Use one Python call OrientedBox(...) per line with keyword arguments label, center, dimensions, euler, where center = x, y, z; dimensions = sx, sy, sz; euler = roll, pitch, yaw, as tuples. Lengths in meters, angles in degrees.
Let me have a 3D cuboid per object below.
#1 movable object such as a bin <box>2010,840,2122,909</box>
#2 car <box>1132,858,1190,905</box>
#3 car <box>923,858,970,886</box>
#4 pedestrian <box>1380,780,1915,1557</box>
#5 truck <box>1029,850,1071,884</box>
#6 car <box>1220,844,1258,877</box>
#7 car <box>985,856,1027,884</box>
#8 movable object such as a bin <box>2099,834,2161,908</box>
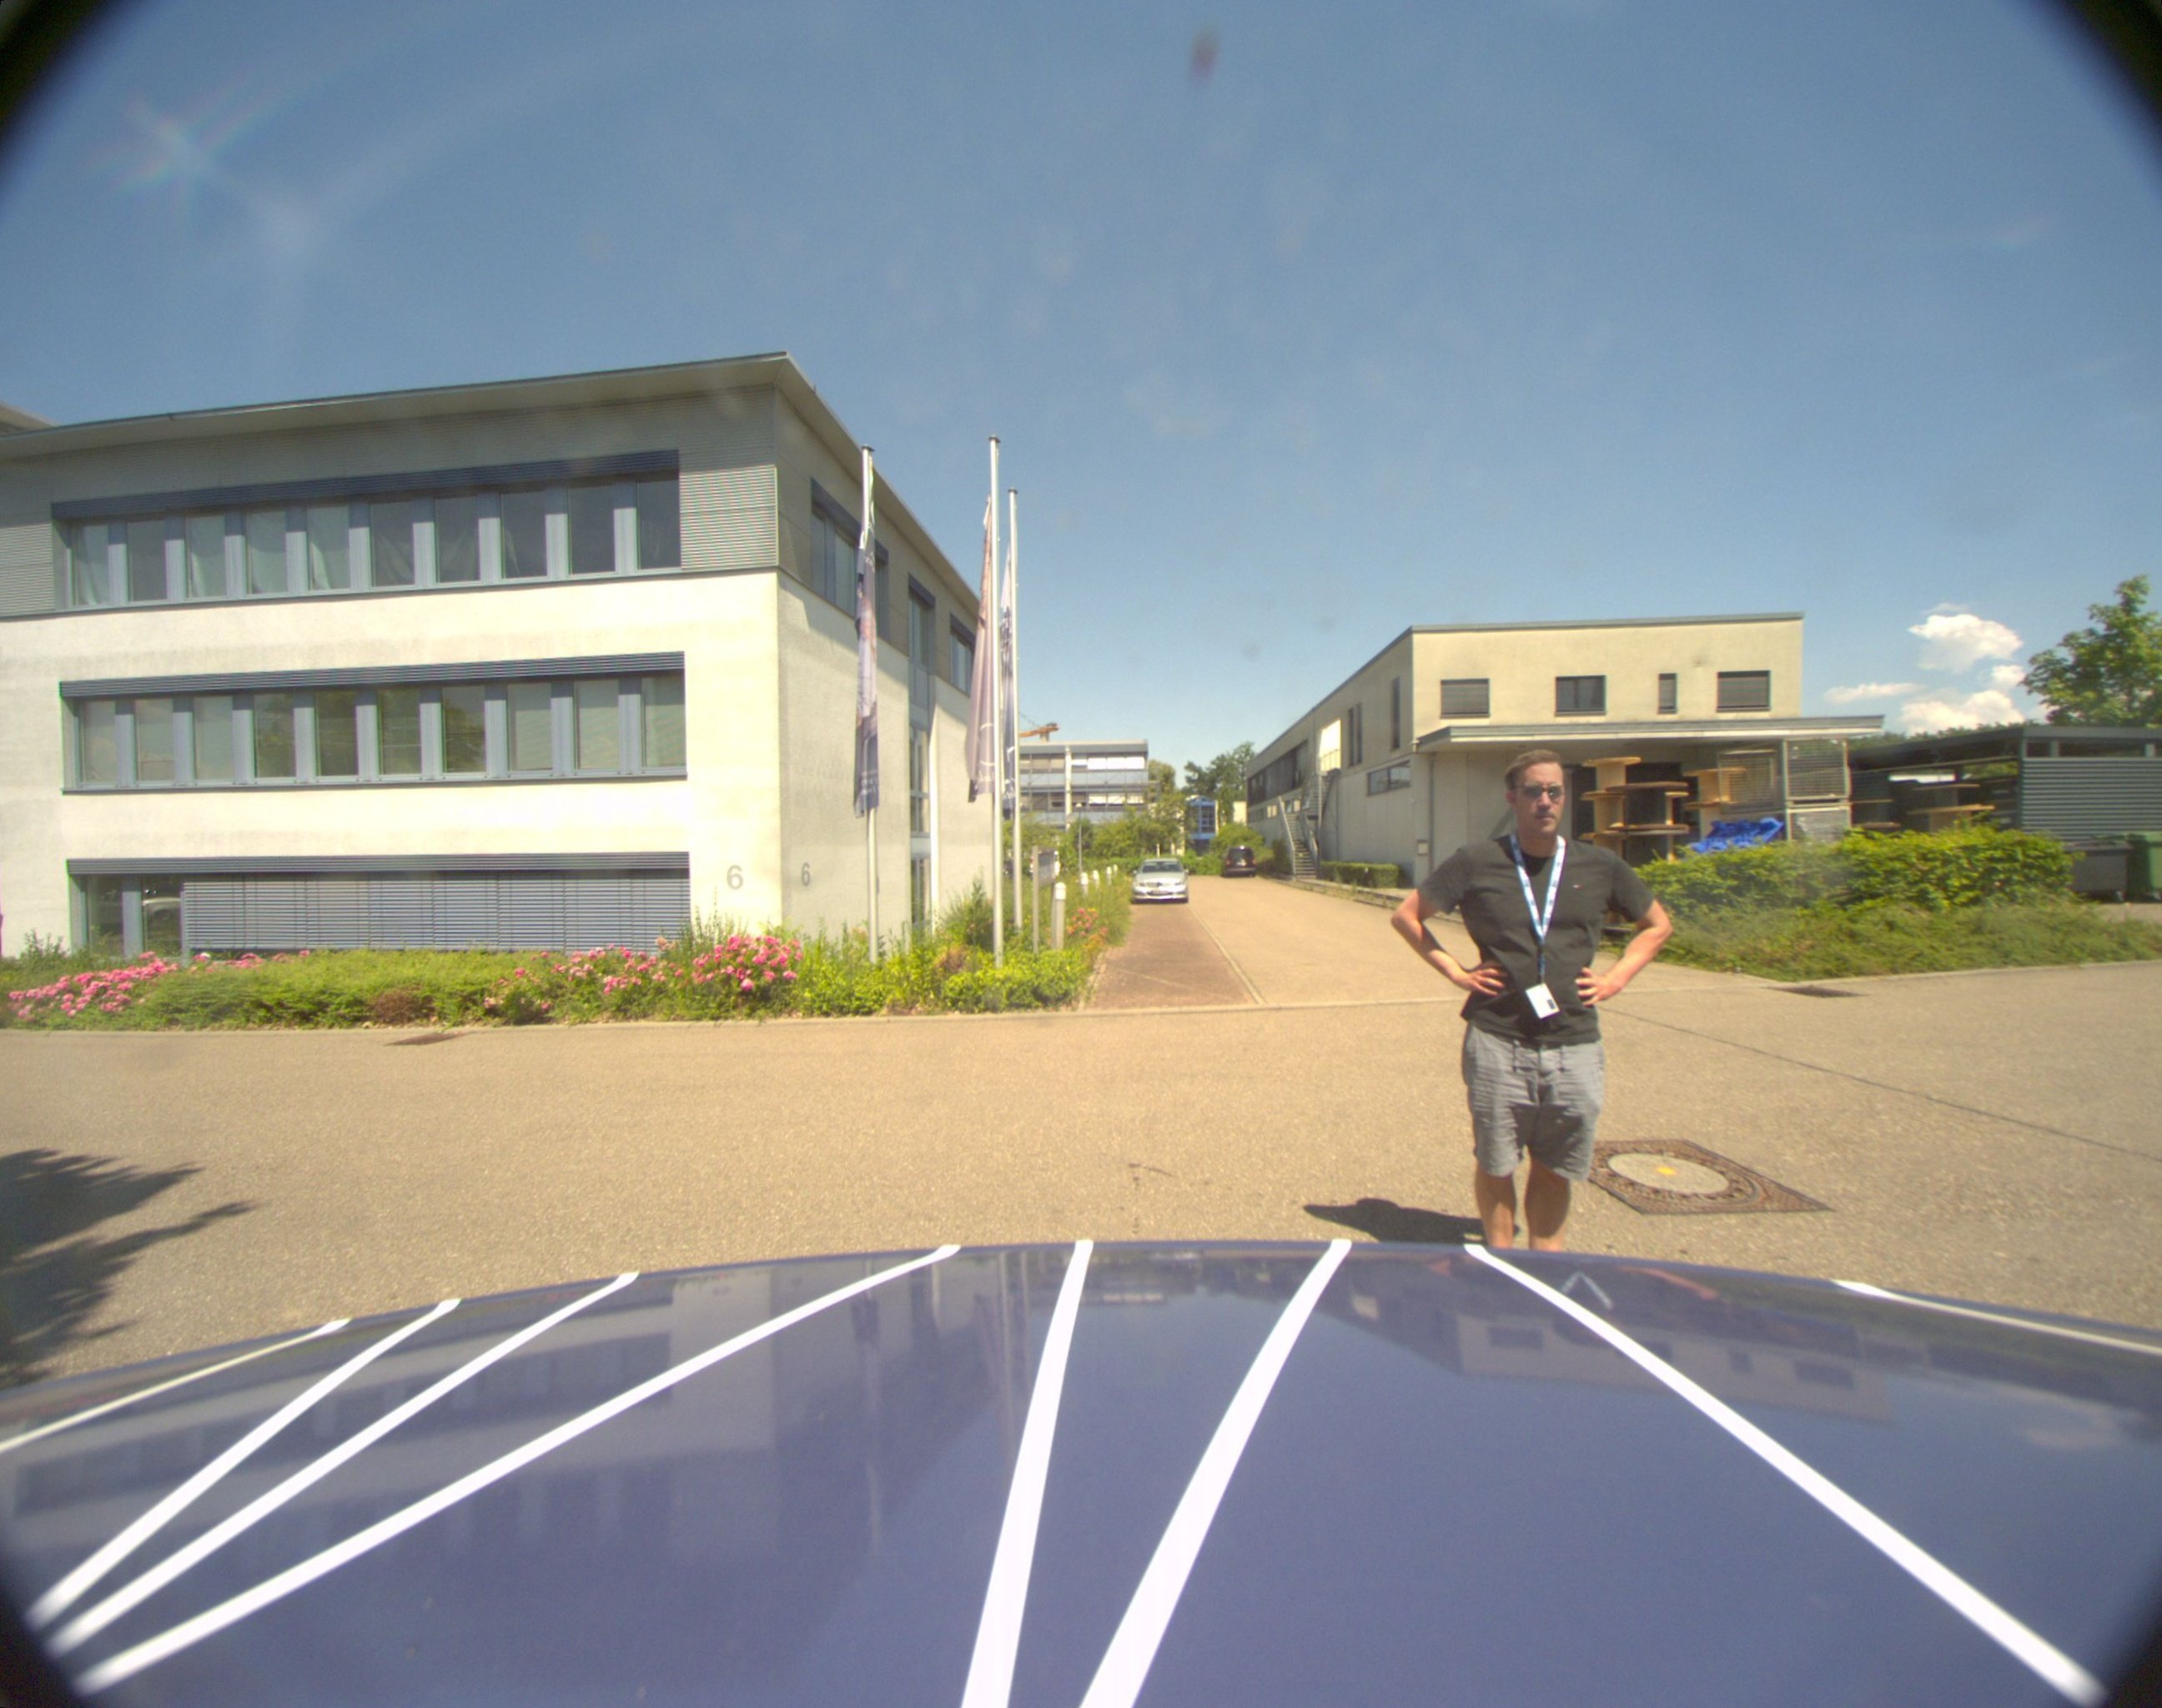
OrientedBox(label="movable object such as a bin", center=(18.828, 0.381, 14.546), dimensions=(1.071, 1.264, 0.760), euler=(-2, 1, 10))
OrientedBox(label="car", center=(2.744, 0.870, 25.369), dimensions=(1.710, 1.383, 3.813), euler=(-1, 1, 9))
OrientedBox(label="car", center=(-8.205, 1.061, 46.786), dimensions=(1.787, 1.537, 4.001), euler=(-2, 1, 5))
OrientedBox(label="pedestrian", center=(1.513, 0.746, 2.239), dimensions=(0.860, 1.809, 0.904), euler=(-2, 1, 1))
OrientedBox(label="truck", center=(-1.785, 0.715, 45.390), dimensions=(1.998, 1.882, 4.001), euler=(-2, 0, 4))
OrientedBox(label="car", center=(9.395, 0.369, 45.407), dimensions=(1.786, 1.793, 4.001), euler=(-2, 1, 7))
OrientedBox(label="car", center=(-4.544, 0.928, 46.409), dimensions=(1.787, 1.537, 4.001), euler=(-2, 1, 5))
OrientedBox(label="movable object such as a bin", center=(20.135, 0.306, 14.217), dimensions=(1.071, 1.329, 0.760), euler=(-2, 1, 10))
